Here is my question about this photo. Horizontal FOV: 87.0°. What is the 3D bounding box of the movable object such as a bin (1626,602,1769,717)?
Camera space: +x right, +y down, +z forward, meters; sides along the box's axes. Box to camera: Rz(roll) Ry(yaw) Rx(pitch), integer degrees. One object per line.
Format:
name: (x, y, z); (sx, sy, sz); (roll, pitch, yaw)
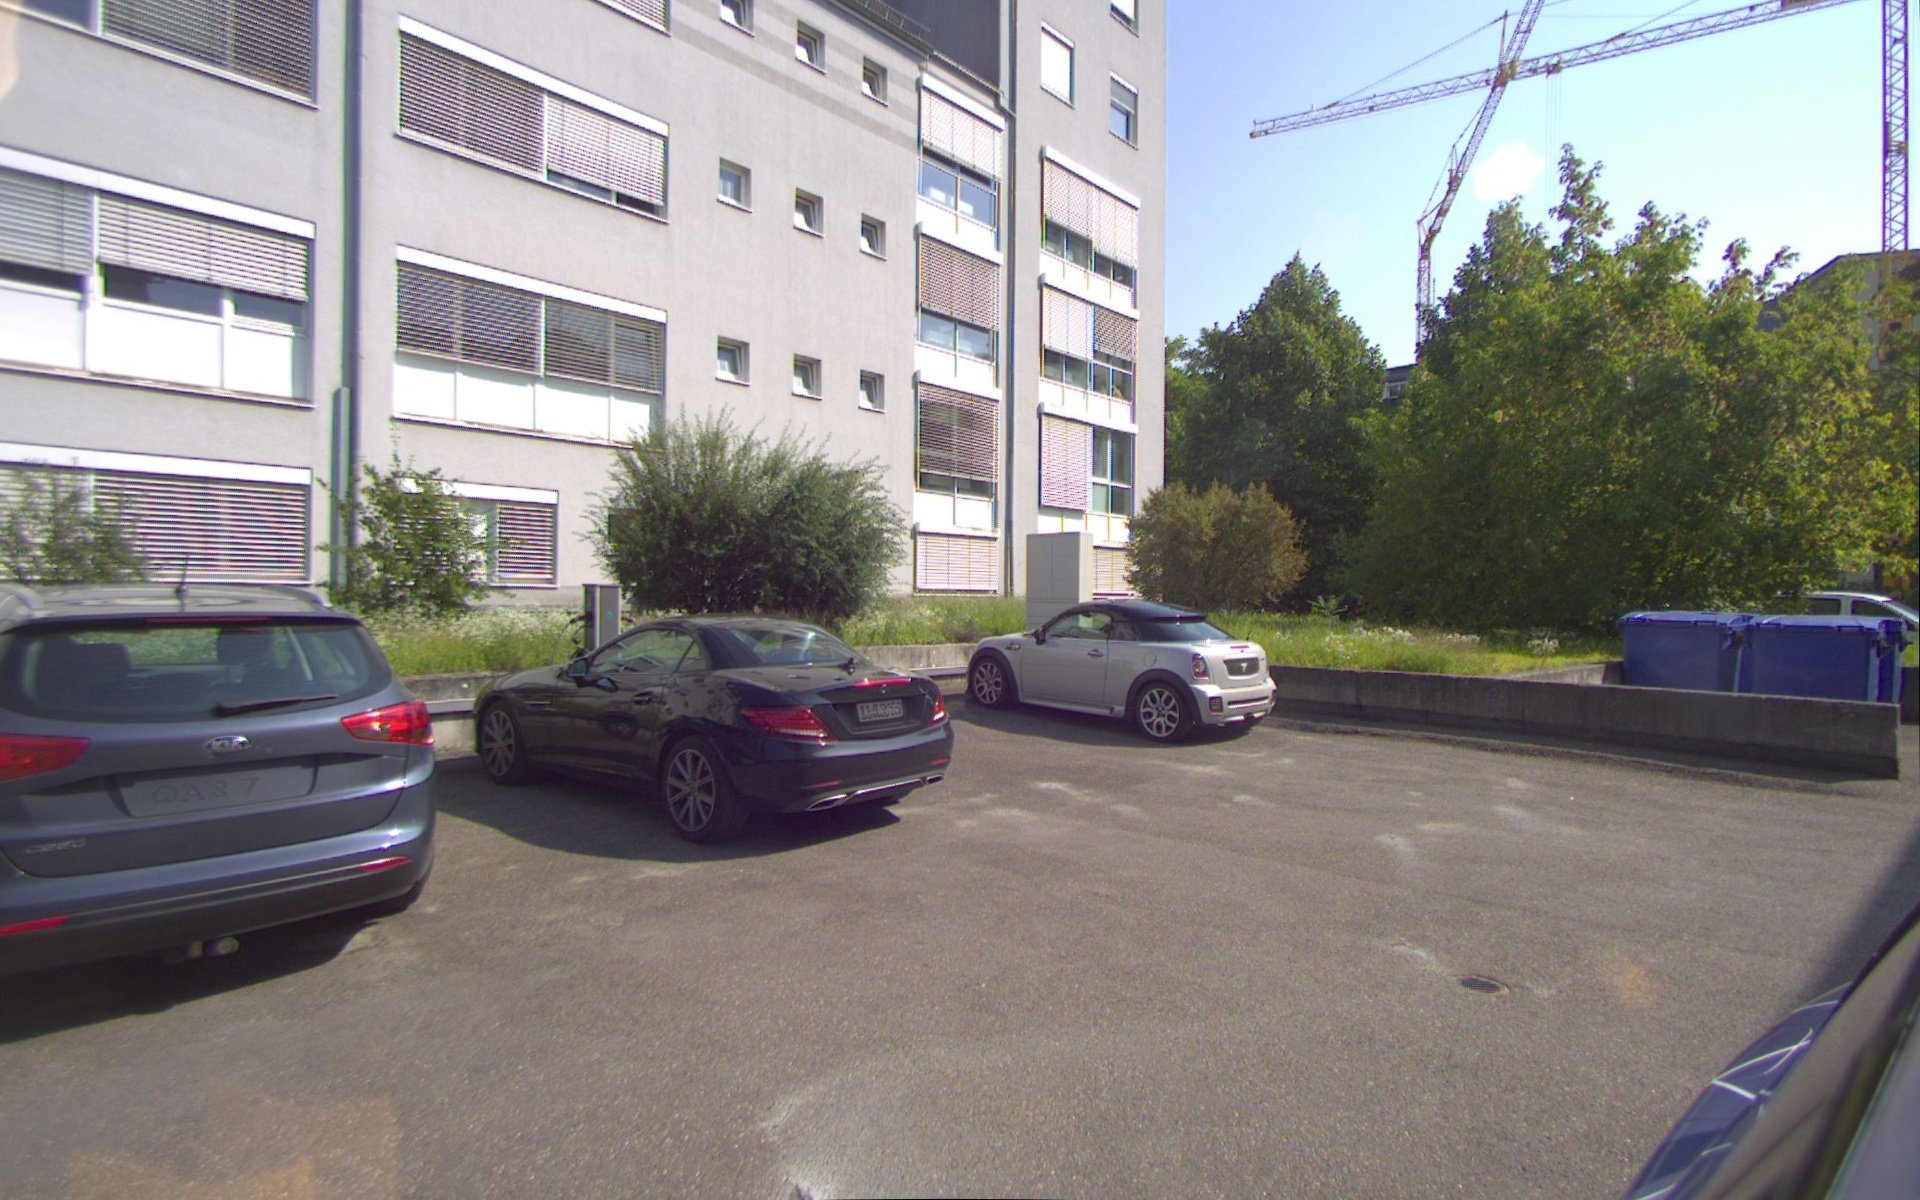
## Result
movable object such as a bin: (9.423, 0.709, 12.943); (1.096, 1.357, 1.238); (0, 0, -38)

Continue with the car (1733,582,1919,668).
car: (21.869, 0.562, 24.263); (2.007, 1.945, 4.968); (-1, 0, -39)

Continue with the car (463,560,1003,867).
car: (-1.755, 0.583, 7.257); (3.793, 1.609, 1.870); (0, 0, 39)

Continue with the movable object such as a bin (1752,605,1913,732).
movable object such as a bin: (10.259, 0.751, 11.908); (1.174, 1.357, 1.302); (0, 0, -42)

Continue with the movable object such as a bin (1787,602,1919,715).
movable object such as a bin: (11.563, 0.708, 13.033); (1.082, 1.357, 1.310); (0, 0, -44)

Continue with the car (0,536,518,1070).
car: (-3.845, 0.598, 4.858); (3.862, 1.609, 1.850); (0, 0, 44)

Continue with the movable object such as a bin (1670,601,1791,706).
movable object such as a bin: (10.698, 0.701, 14.049); (1.226, 1.357, 1.060); (0, 0, 44)

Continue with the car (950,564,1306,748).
car: (1.777, 0.481, 11.526); (1.772, 1.563, 3.625); (0, 5, -43)
